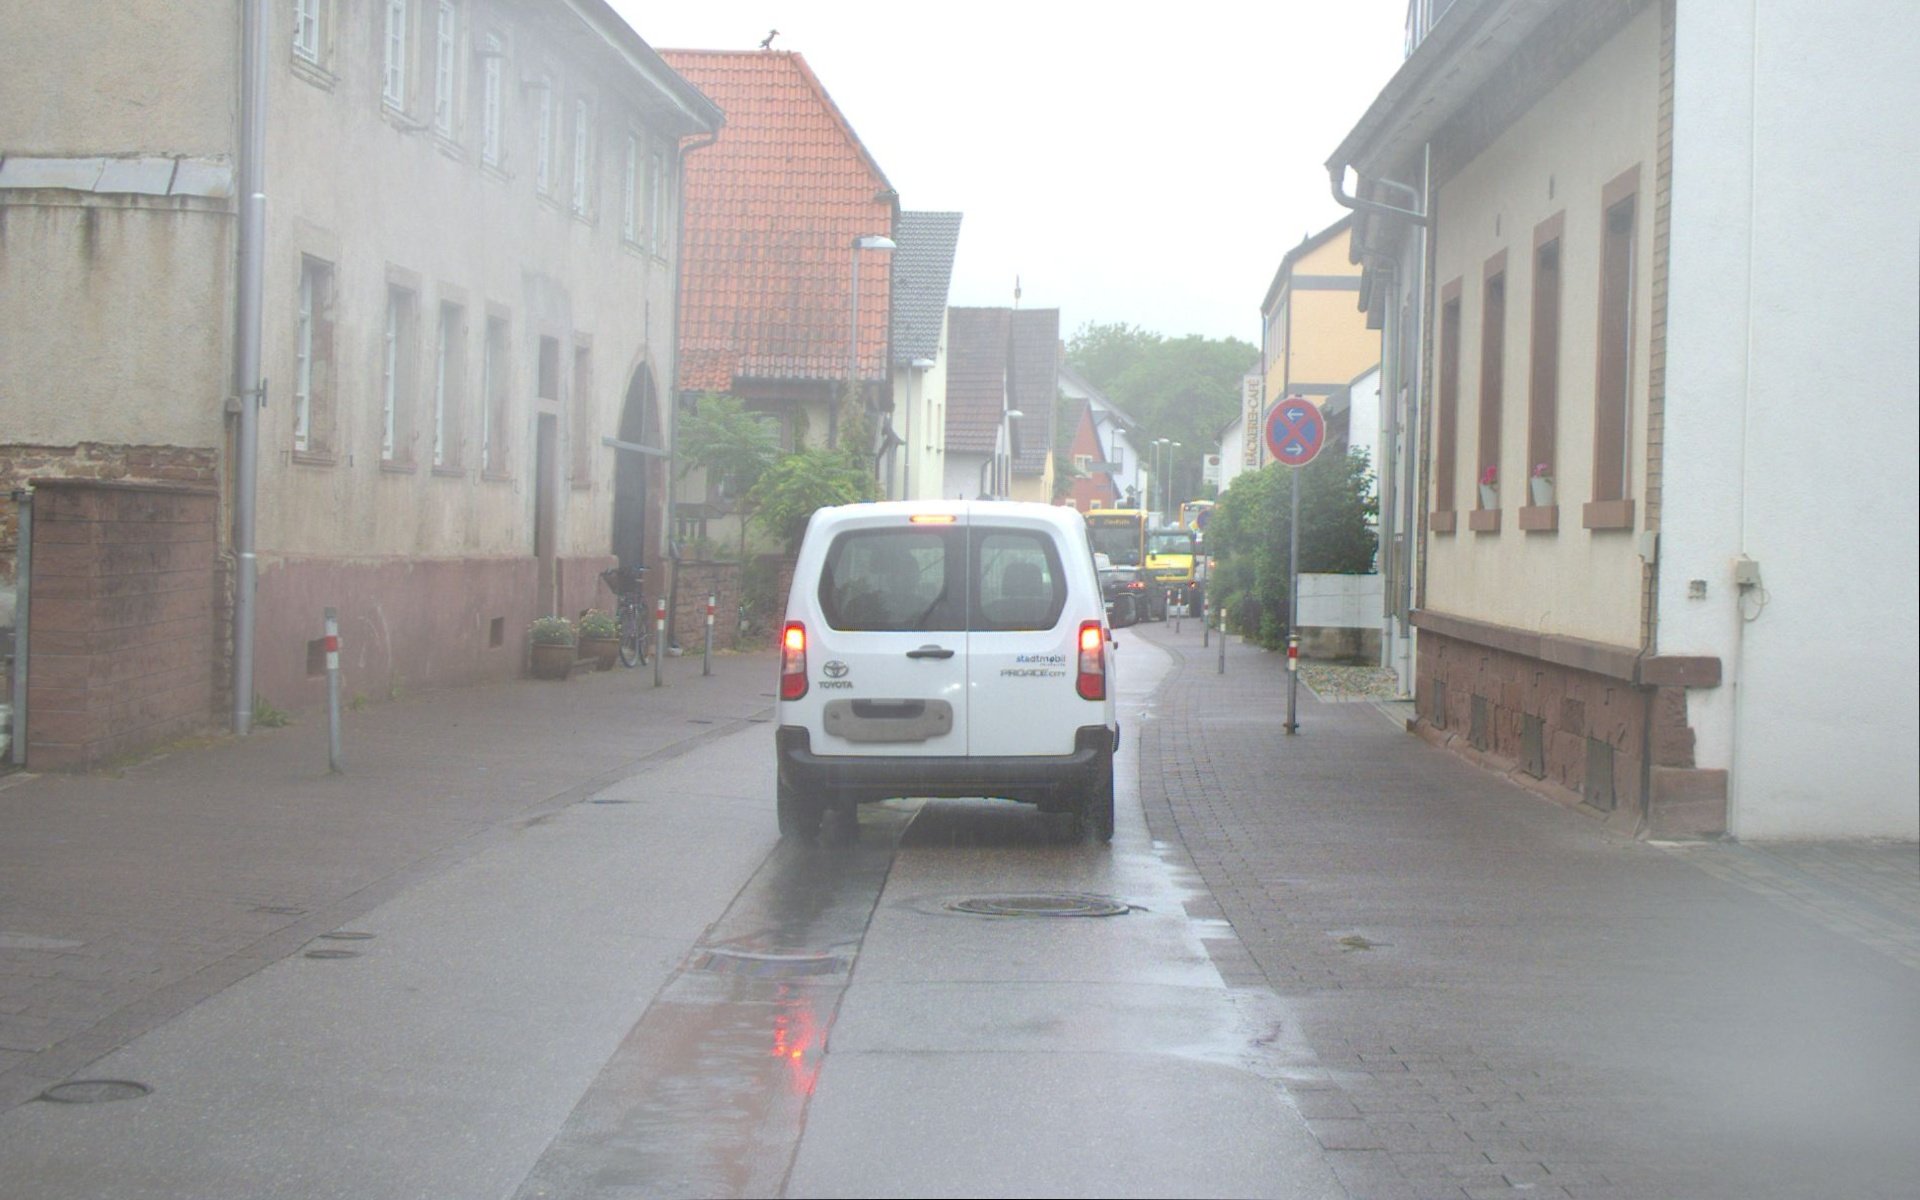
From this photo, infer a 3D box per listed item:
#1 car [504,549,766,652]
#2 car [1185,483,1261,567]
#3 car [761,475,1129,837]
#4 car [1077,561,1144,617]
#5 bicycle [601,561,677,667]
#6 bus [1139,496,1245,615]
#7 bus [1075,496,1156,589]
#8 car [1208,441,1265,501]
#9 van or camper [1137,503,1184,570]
[{"bbox_3d":[-4.733,-0.001,50.303,3.528,1.371,1.594,2,1,6],"label":"car"},{"bbox_3d":[6.854,-1.941,89.798,1.827,2.007,3.693,3,0,4],"label":"car"},{"bbox_3d":[0.024,0.281,19.358,1.795,1.812,4.101,0,0,4],"label":"car"},{"bbox_3d":[3.967,-0.270,90.090,1.562,1.367,3.584,3,0,5],"label":"car"},{"bbox_3d":[-3.707,0.164,39.827,0.483,1.176,1.835,3,0,6],"label":"bicycle"},{"bbox_3d":[6.802,-1.243,100.935,2.794,3.169,8.176,4,0,4],"label":"bus"},{"bbox_3d":[6.134,-2.193,134.870,2.794,3.317,8.176,4,0,4],"label":"bus"},{"bbox_3d":[10.346,-4.803,128.678,1.994,2.007,3.999,3,0,5],"label":"car"},{"bbox_3d":[9.305,-2.906,159.491,1.835,2.915,5.362,3,0,5],"label":"van or camper"}]
